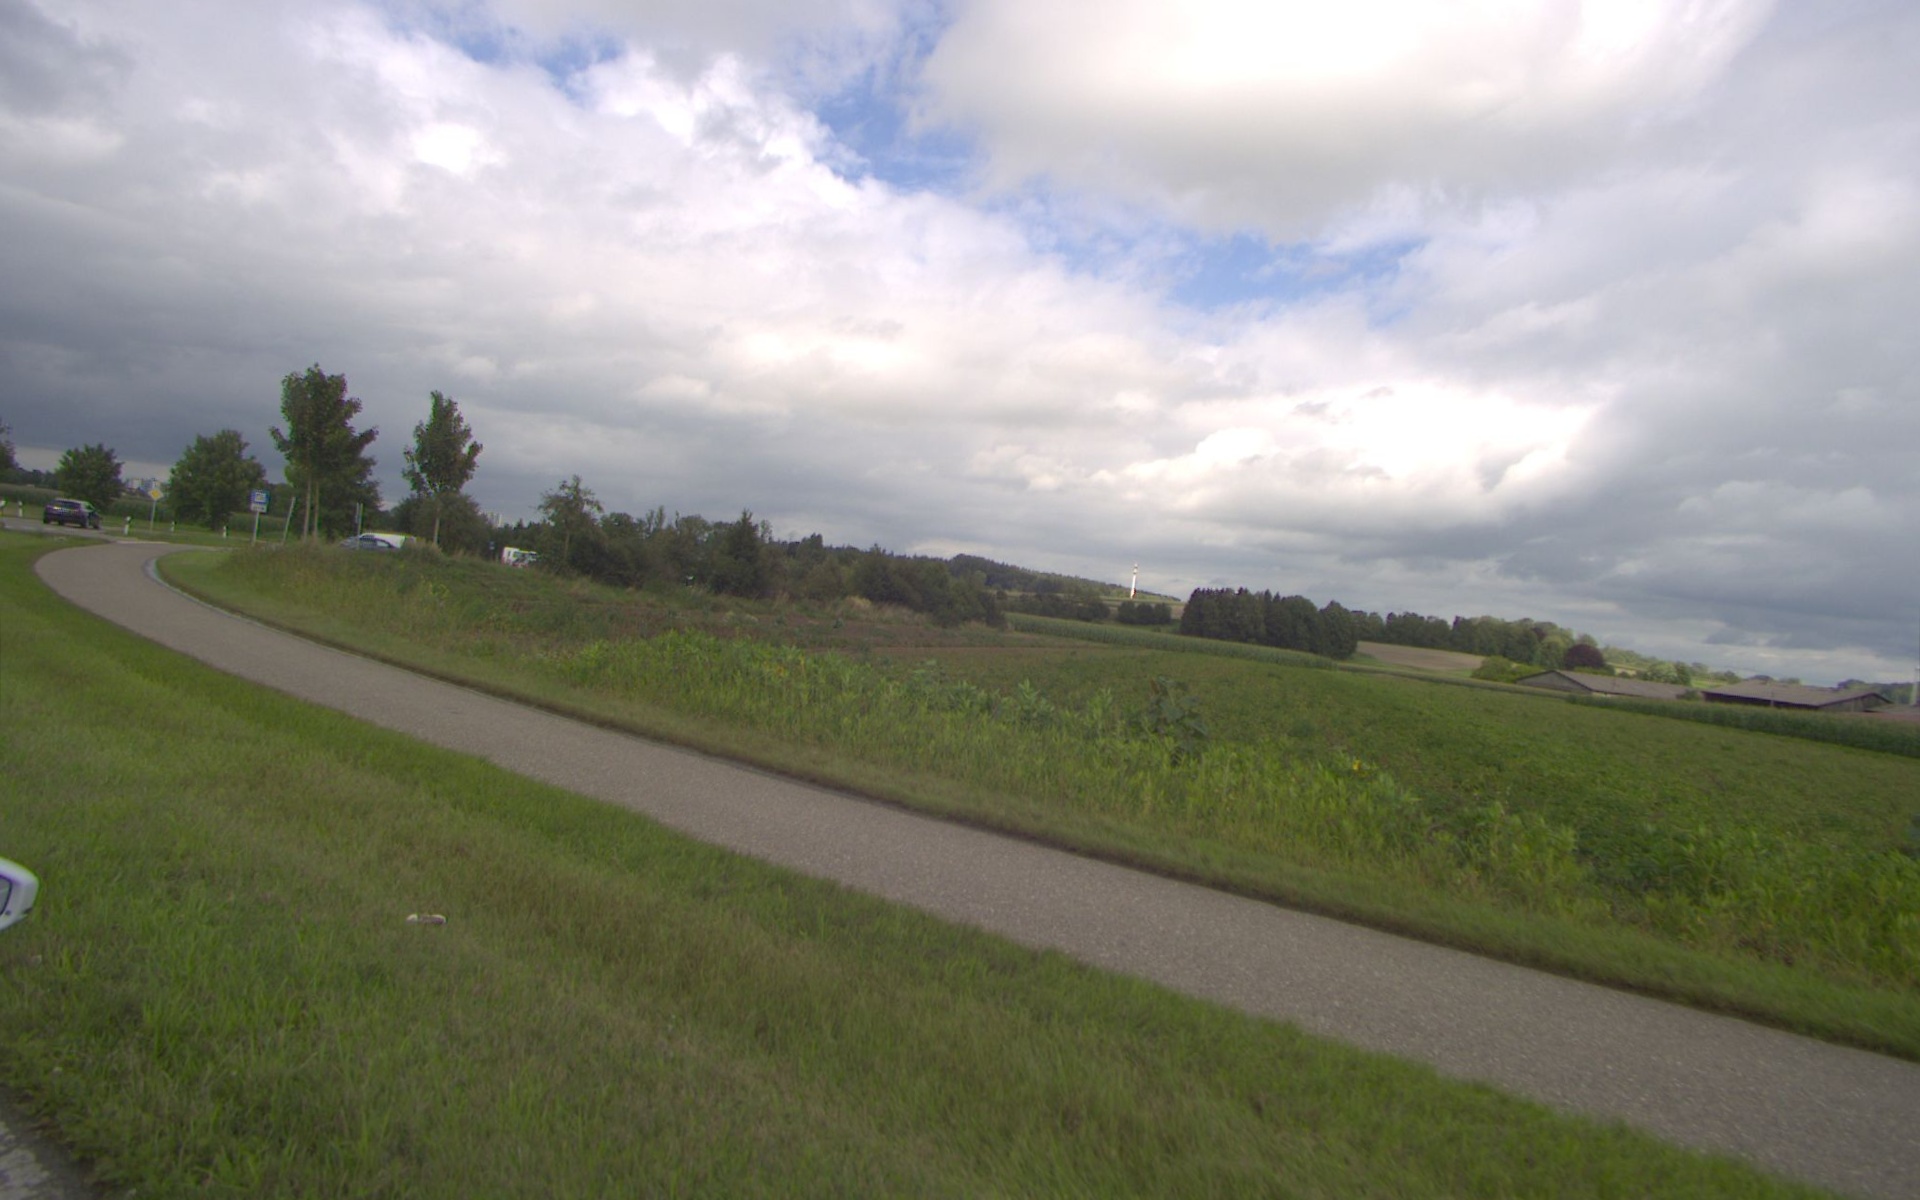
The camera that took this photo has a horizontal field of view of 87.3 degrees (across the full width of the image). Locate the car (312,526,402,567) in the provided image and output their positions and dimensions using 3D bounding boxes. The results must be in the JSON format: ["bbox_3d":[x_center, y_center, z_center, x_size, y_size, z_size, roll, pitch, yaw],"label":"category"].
[{"bbox_3d":[-39.979,-3.558,66.877,4.907,1.998,1.940,7,0,-29],"label":"car"}]

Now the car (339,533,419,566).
[{"bbox_3d":[-36.509,-3.169,63.363,4.236,1.586,1.824,6,0,-29],"label":"car"}]

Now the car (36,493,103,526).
[{"bbox_3d":[-49.069,-4.947,55.534,1.827,1.434,3.971,7,-1,-29],"label":"car"}]

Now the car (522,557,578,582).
[{"bbox_3d":[-31.476,-2.326,77.247,3.664,1.408,1.743,8,-1,-34],"label":"car"}]

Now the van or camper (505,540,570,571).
[{"bbox_3d":[-49.420,-5.178,117.664,6.681,2.593,2.036,7,0,-26],"label":"van or camper"}]

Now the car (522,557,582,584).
[{"bbox_3d":[-29.129,-2.130,71.803,3.658,1.408,1.717,7,-1,-29],"label":"car"}]

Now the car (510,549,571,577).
[{"bbox_3d":[-39.616,-3.479,95.100,4.985,2.026,2.215,6,0,-30],"label":"car"}]
